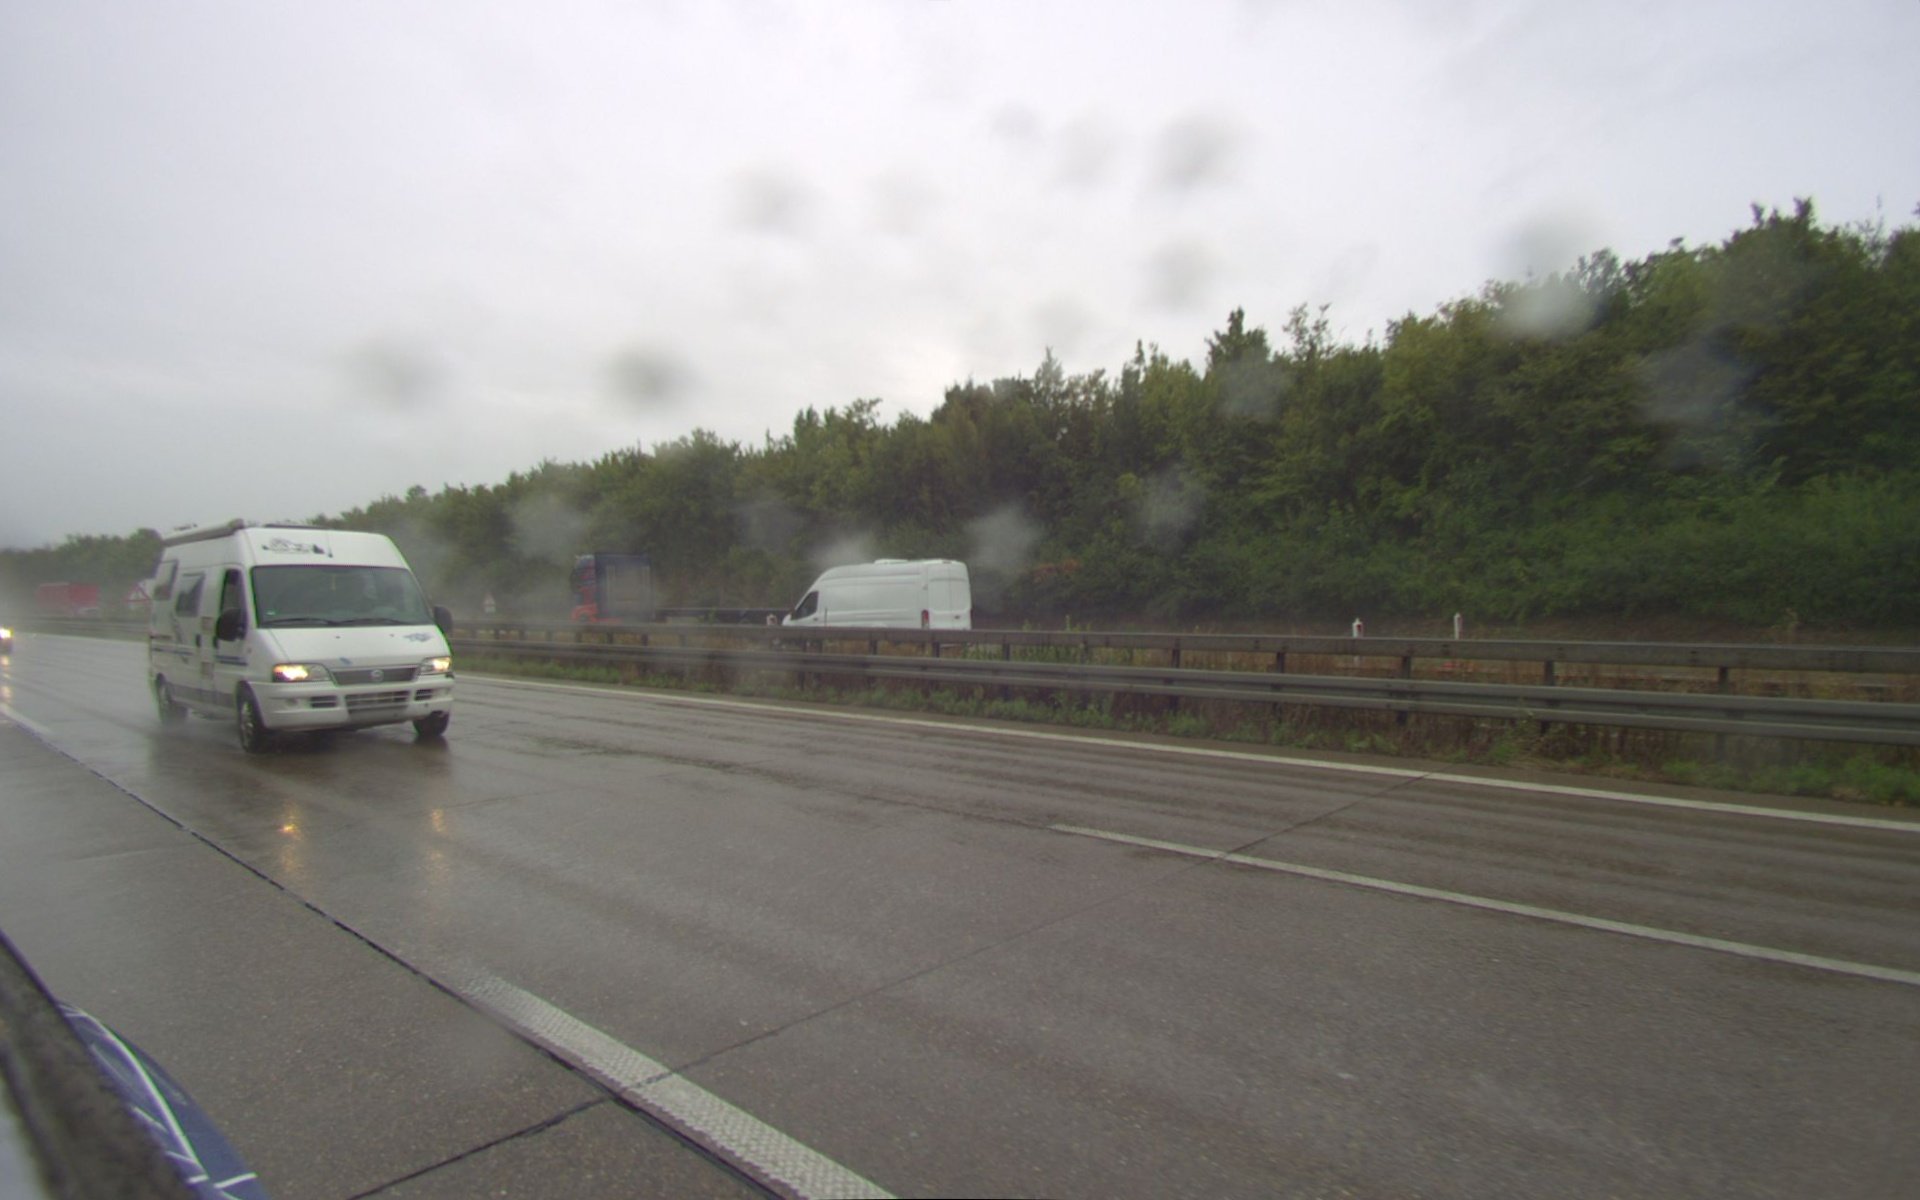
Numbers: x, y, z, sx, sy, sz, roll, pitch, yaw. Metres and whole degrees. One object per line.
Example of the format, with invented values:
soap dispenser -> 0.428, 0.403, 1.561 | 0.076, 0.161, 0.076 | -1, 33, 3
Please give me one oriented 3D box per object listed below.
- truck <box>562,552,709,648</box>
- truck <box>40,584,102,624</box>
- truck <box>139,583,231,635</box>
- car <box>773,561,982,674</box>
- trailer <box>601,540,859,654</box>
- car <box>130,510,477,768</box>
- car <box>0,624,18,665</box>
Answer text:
truck -> -14.262, 0.064, 44.253 | 6.884, 3.886, 3.103 | -1, -1, 42
truck -> -101.885, 0.519, 115.872 | 13.526, 4.277, 3.093 | -1, -1, 39
truck -> -69.696, 0.858, 90.736 | 16.357, 4.277, 3.092 | -1, -1, 40
car -> -2.515, 0.502, 29.118 | 6.531, 2.922, 2.066 | -1, -1, 42
trailer -> -9.494, -0.001, 39.992 | 12.866, 3.886, 3.103 | -1, -1, 42
car -> -8.149, 0.406, 12.258 | 5.787, 2.450, 1.977 | -1, -1, 41
car -> -35.472, 1.561, 36.408 | 4.317, 1.398, 1.723 | 0, -2, 40
